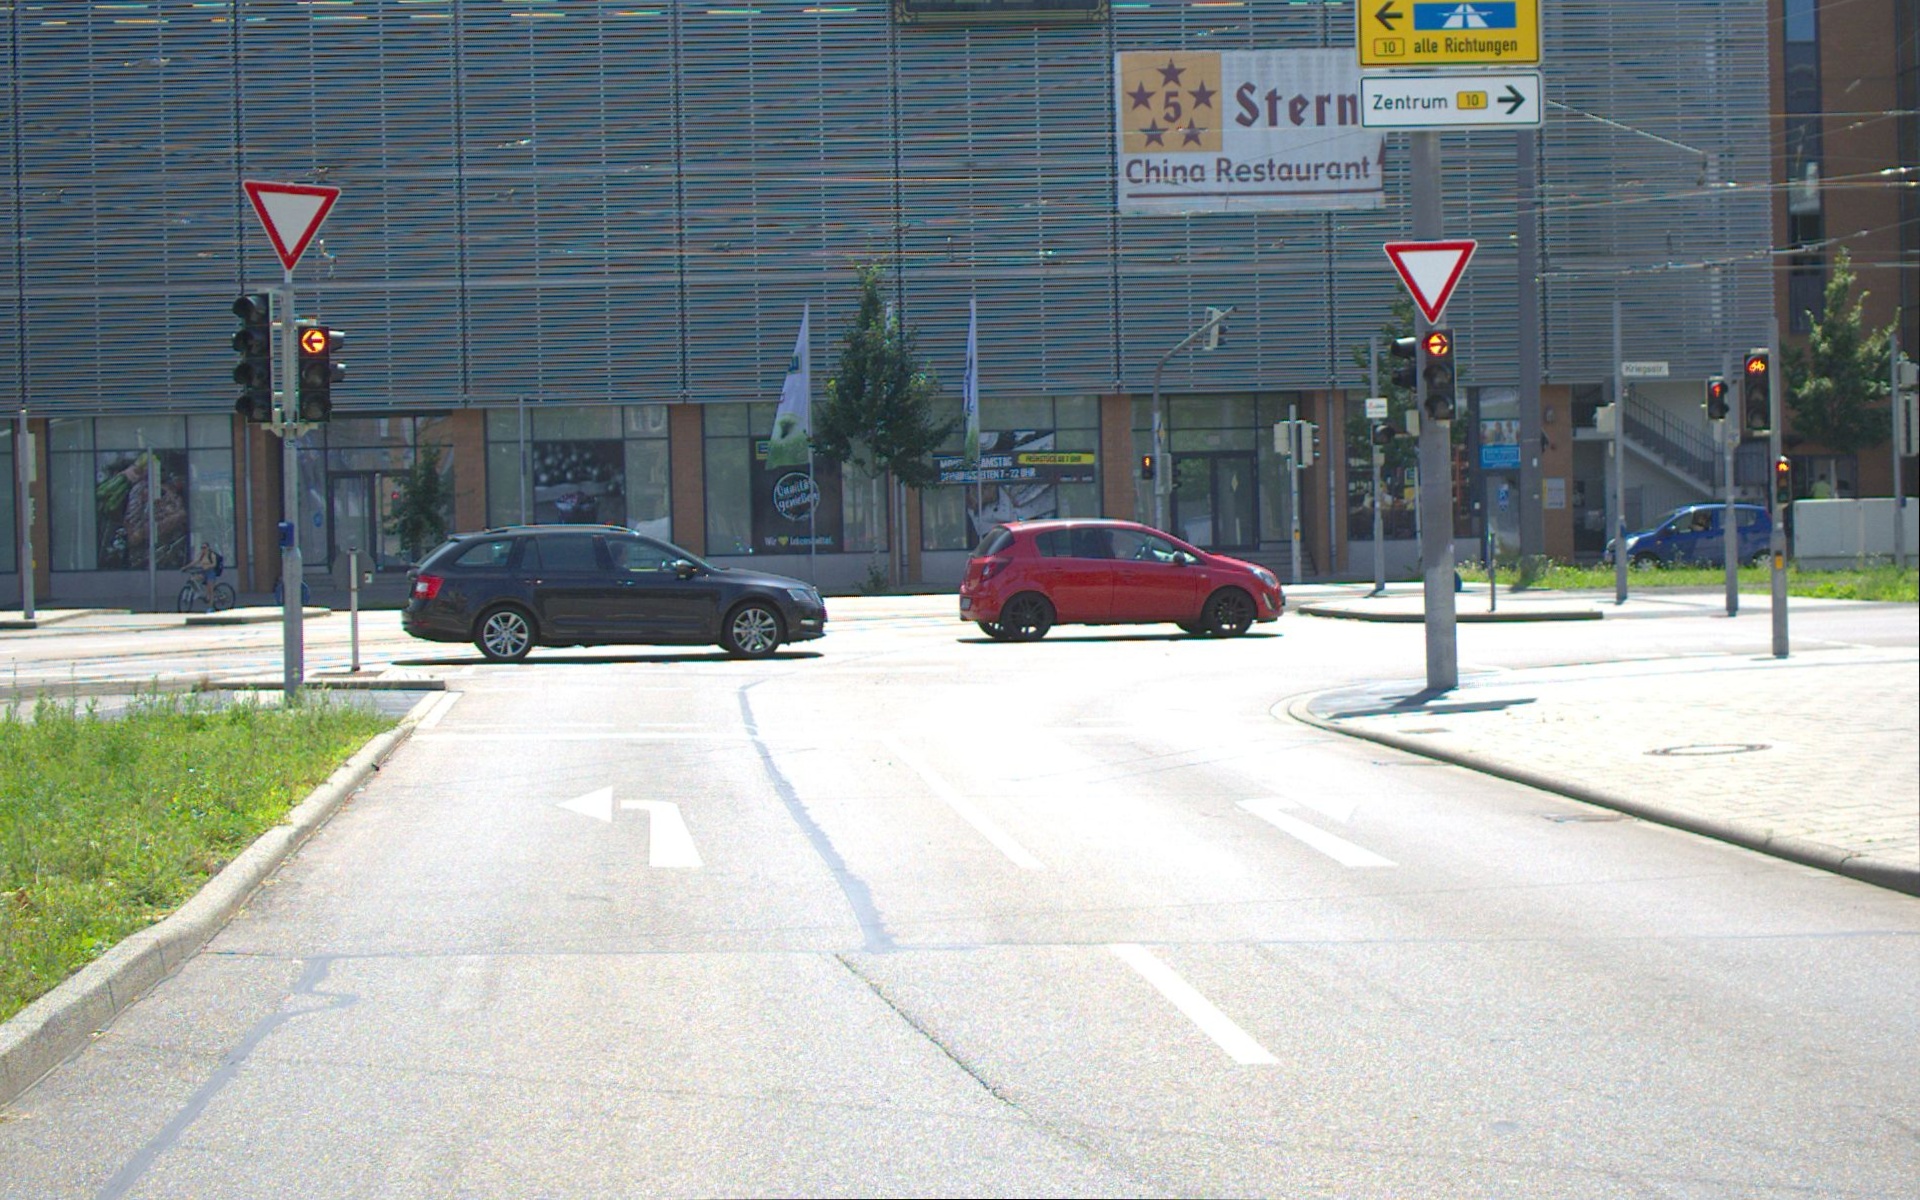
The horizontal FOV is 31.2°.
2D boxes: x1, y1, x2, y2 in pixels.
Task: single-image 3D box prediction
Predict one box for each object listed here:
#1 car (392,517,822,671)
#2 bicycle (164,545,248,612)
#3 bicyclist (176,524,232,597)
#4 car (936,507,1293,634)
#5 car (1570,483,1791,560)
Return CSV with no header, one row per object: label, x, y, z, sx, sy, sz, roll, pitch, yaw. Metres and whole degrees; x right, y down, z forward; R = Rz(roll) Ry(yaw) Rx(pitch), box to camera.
car,-3.914,-0.094,37.847,4.524,1.503,1.843,-2,2,-11
bicycle,-16.550,-0.483,75.537,1.062,1.385,3.024,0,2,3
bicyclist,-16.560,-0.868,75.318,1.039,1.566,0.777,0,2,2
car,1.862,-0.379,42.292,4.125,1.503,1.843,0,2,-8
car,14.553,-1.607,69.564,3.986,1.533,1.882,0,2,-6
